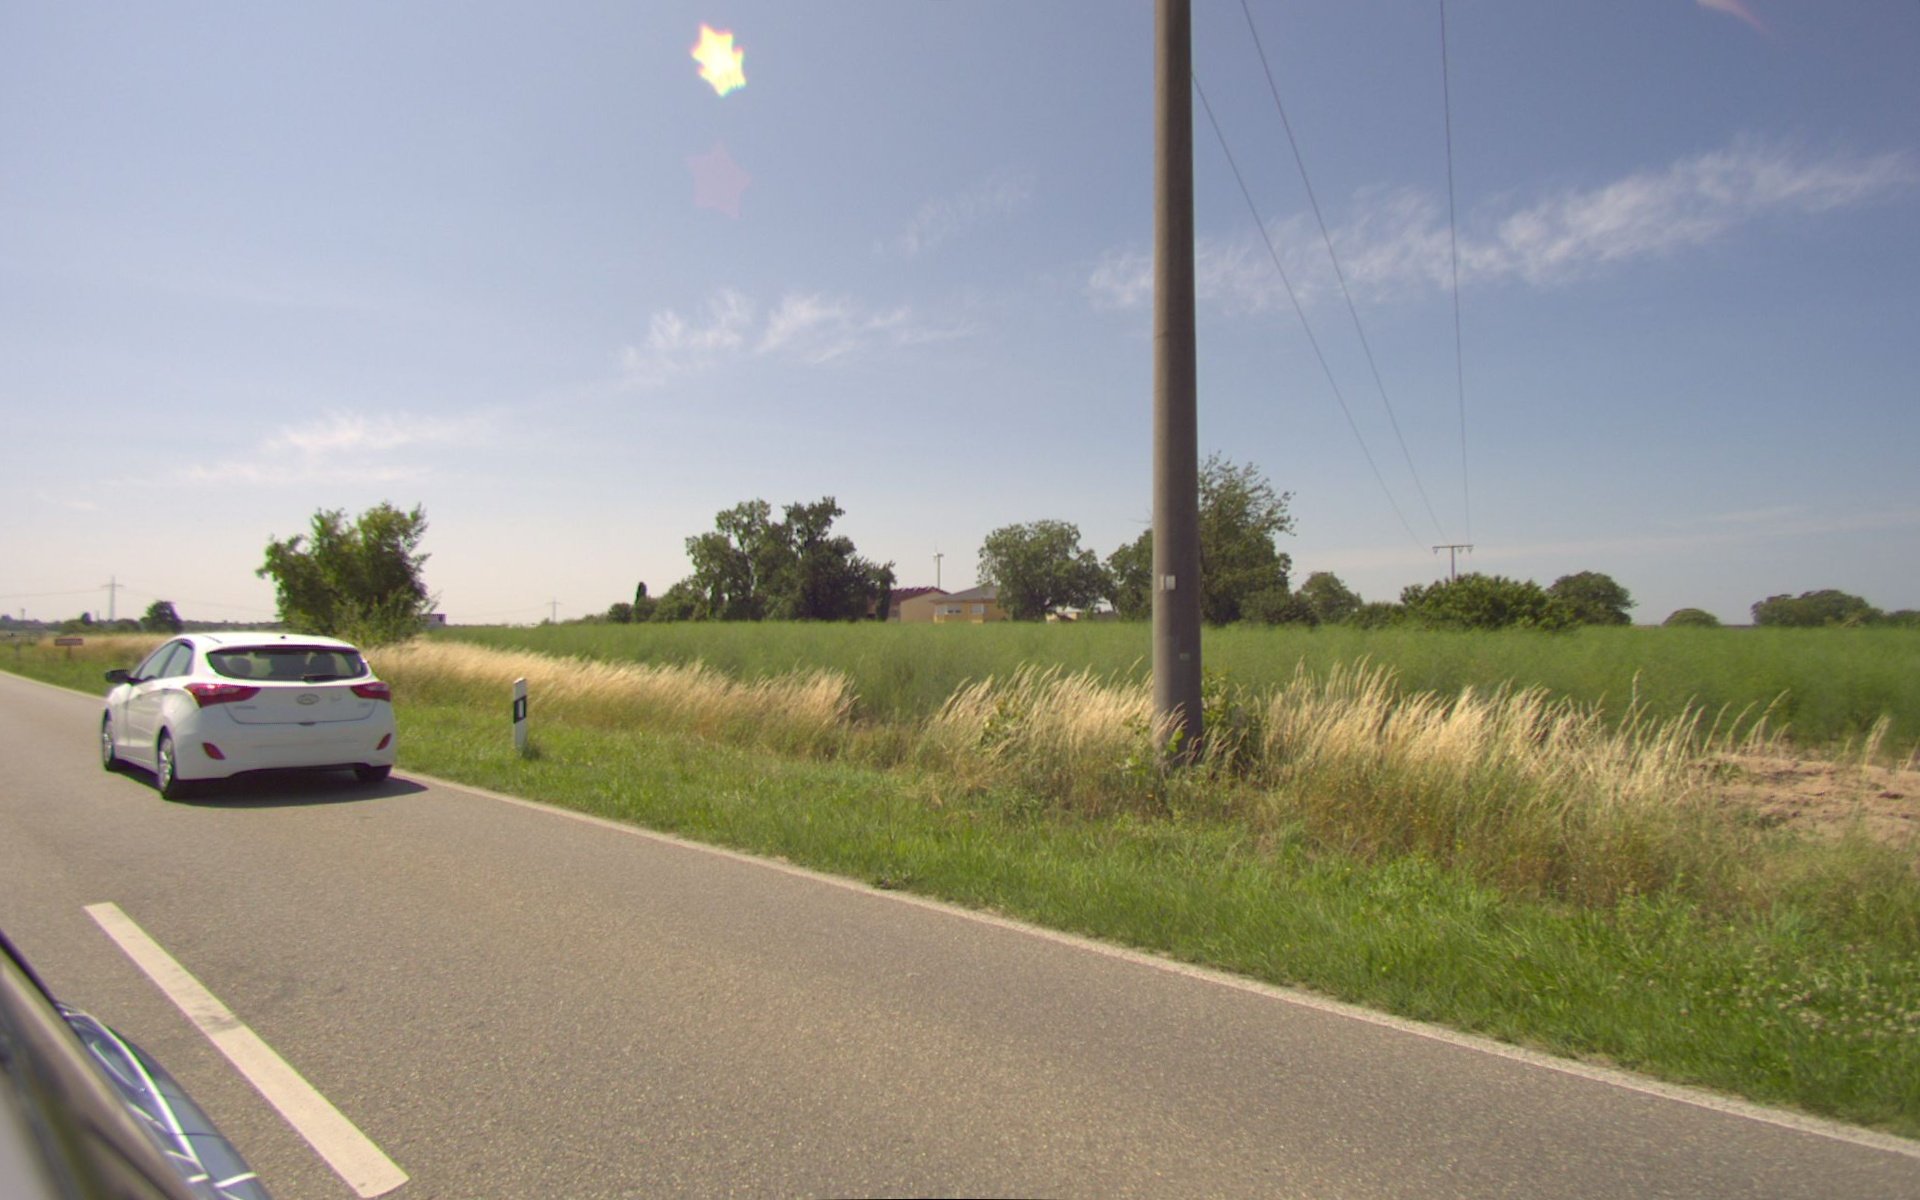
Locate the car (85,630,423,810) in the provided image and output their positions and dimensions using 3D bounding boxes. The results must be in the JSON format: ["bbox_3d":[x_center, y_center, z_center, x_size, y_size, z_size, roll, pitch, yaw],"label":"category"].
[{"bbox_3d":[-7.144,1.027,10.075,4.183,1.420,1.773,-2,-3,41],"label":"car"}]
